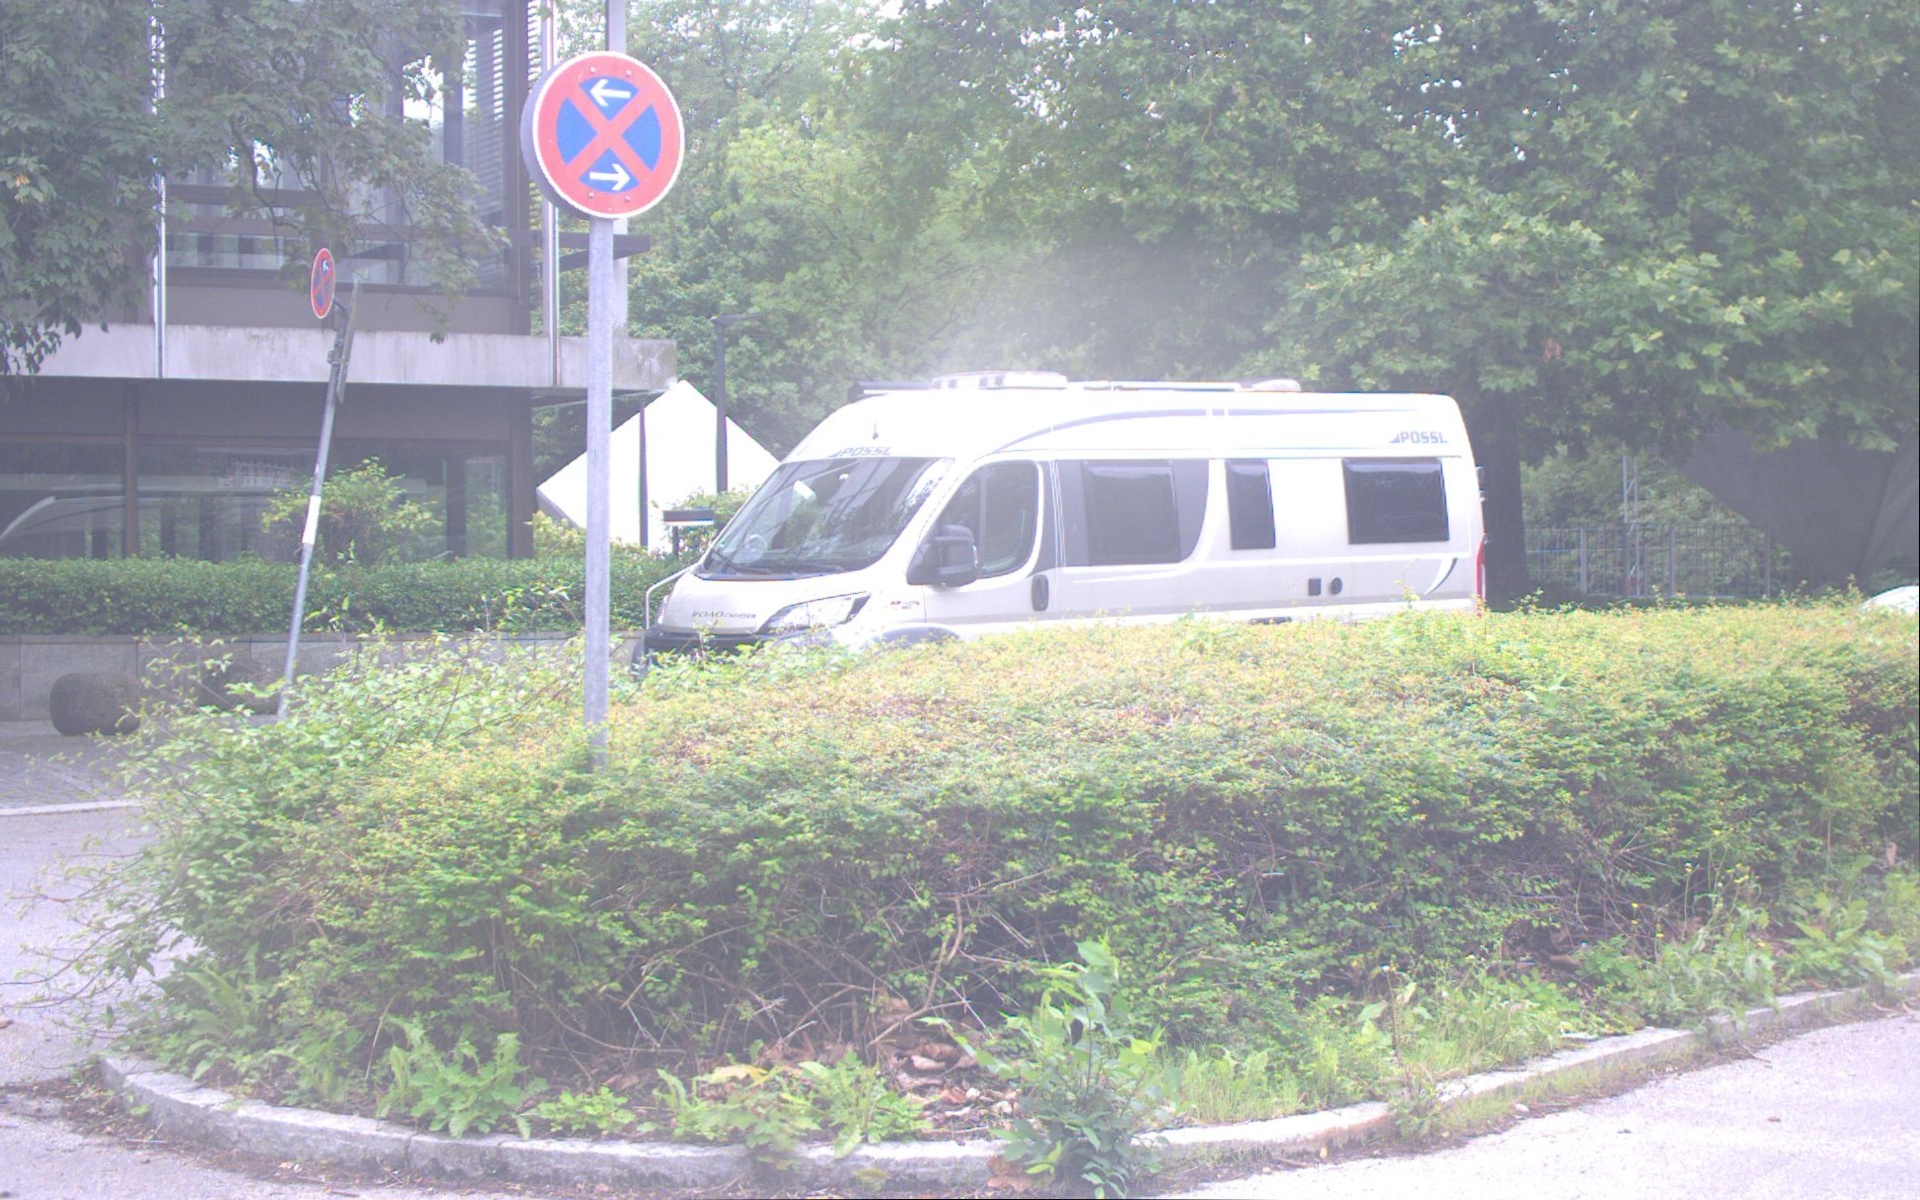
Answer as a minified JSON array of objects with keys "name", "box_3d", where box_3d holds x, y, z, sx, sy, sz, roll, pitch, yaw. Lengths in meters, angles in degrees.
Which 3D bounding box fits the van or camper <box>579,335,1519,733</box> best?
[{"name":"van or camper","box_3d":[0.766,-0.408,22.641,6.401,2.273,2.254,-1,1,-42]}]

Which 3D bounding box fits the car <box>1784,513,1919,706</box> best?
[{"name":"car","box_3d":[8.992,0.047,28.192,3.986,1.503,2.000,-1,1,-27]}]
